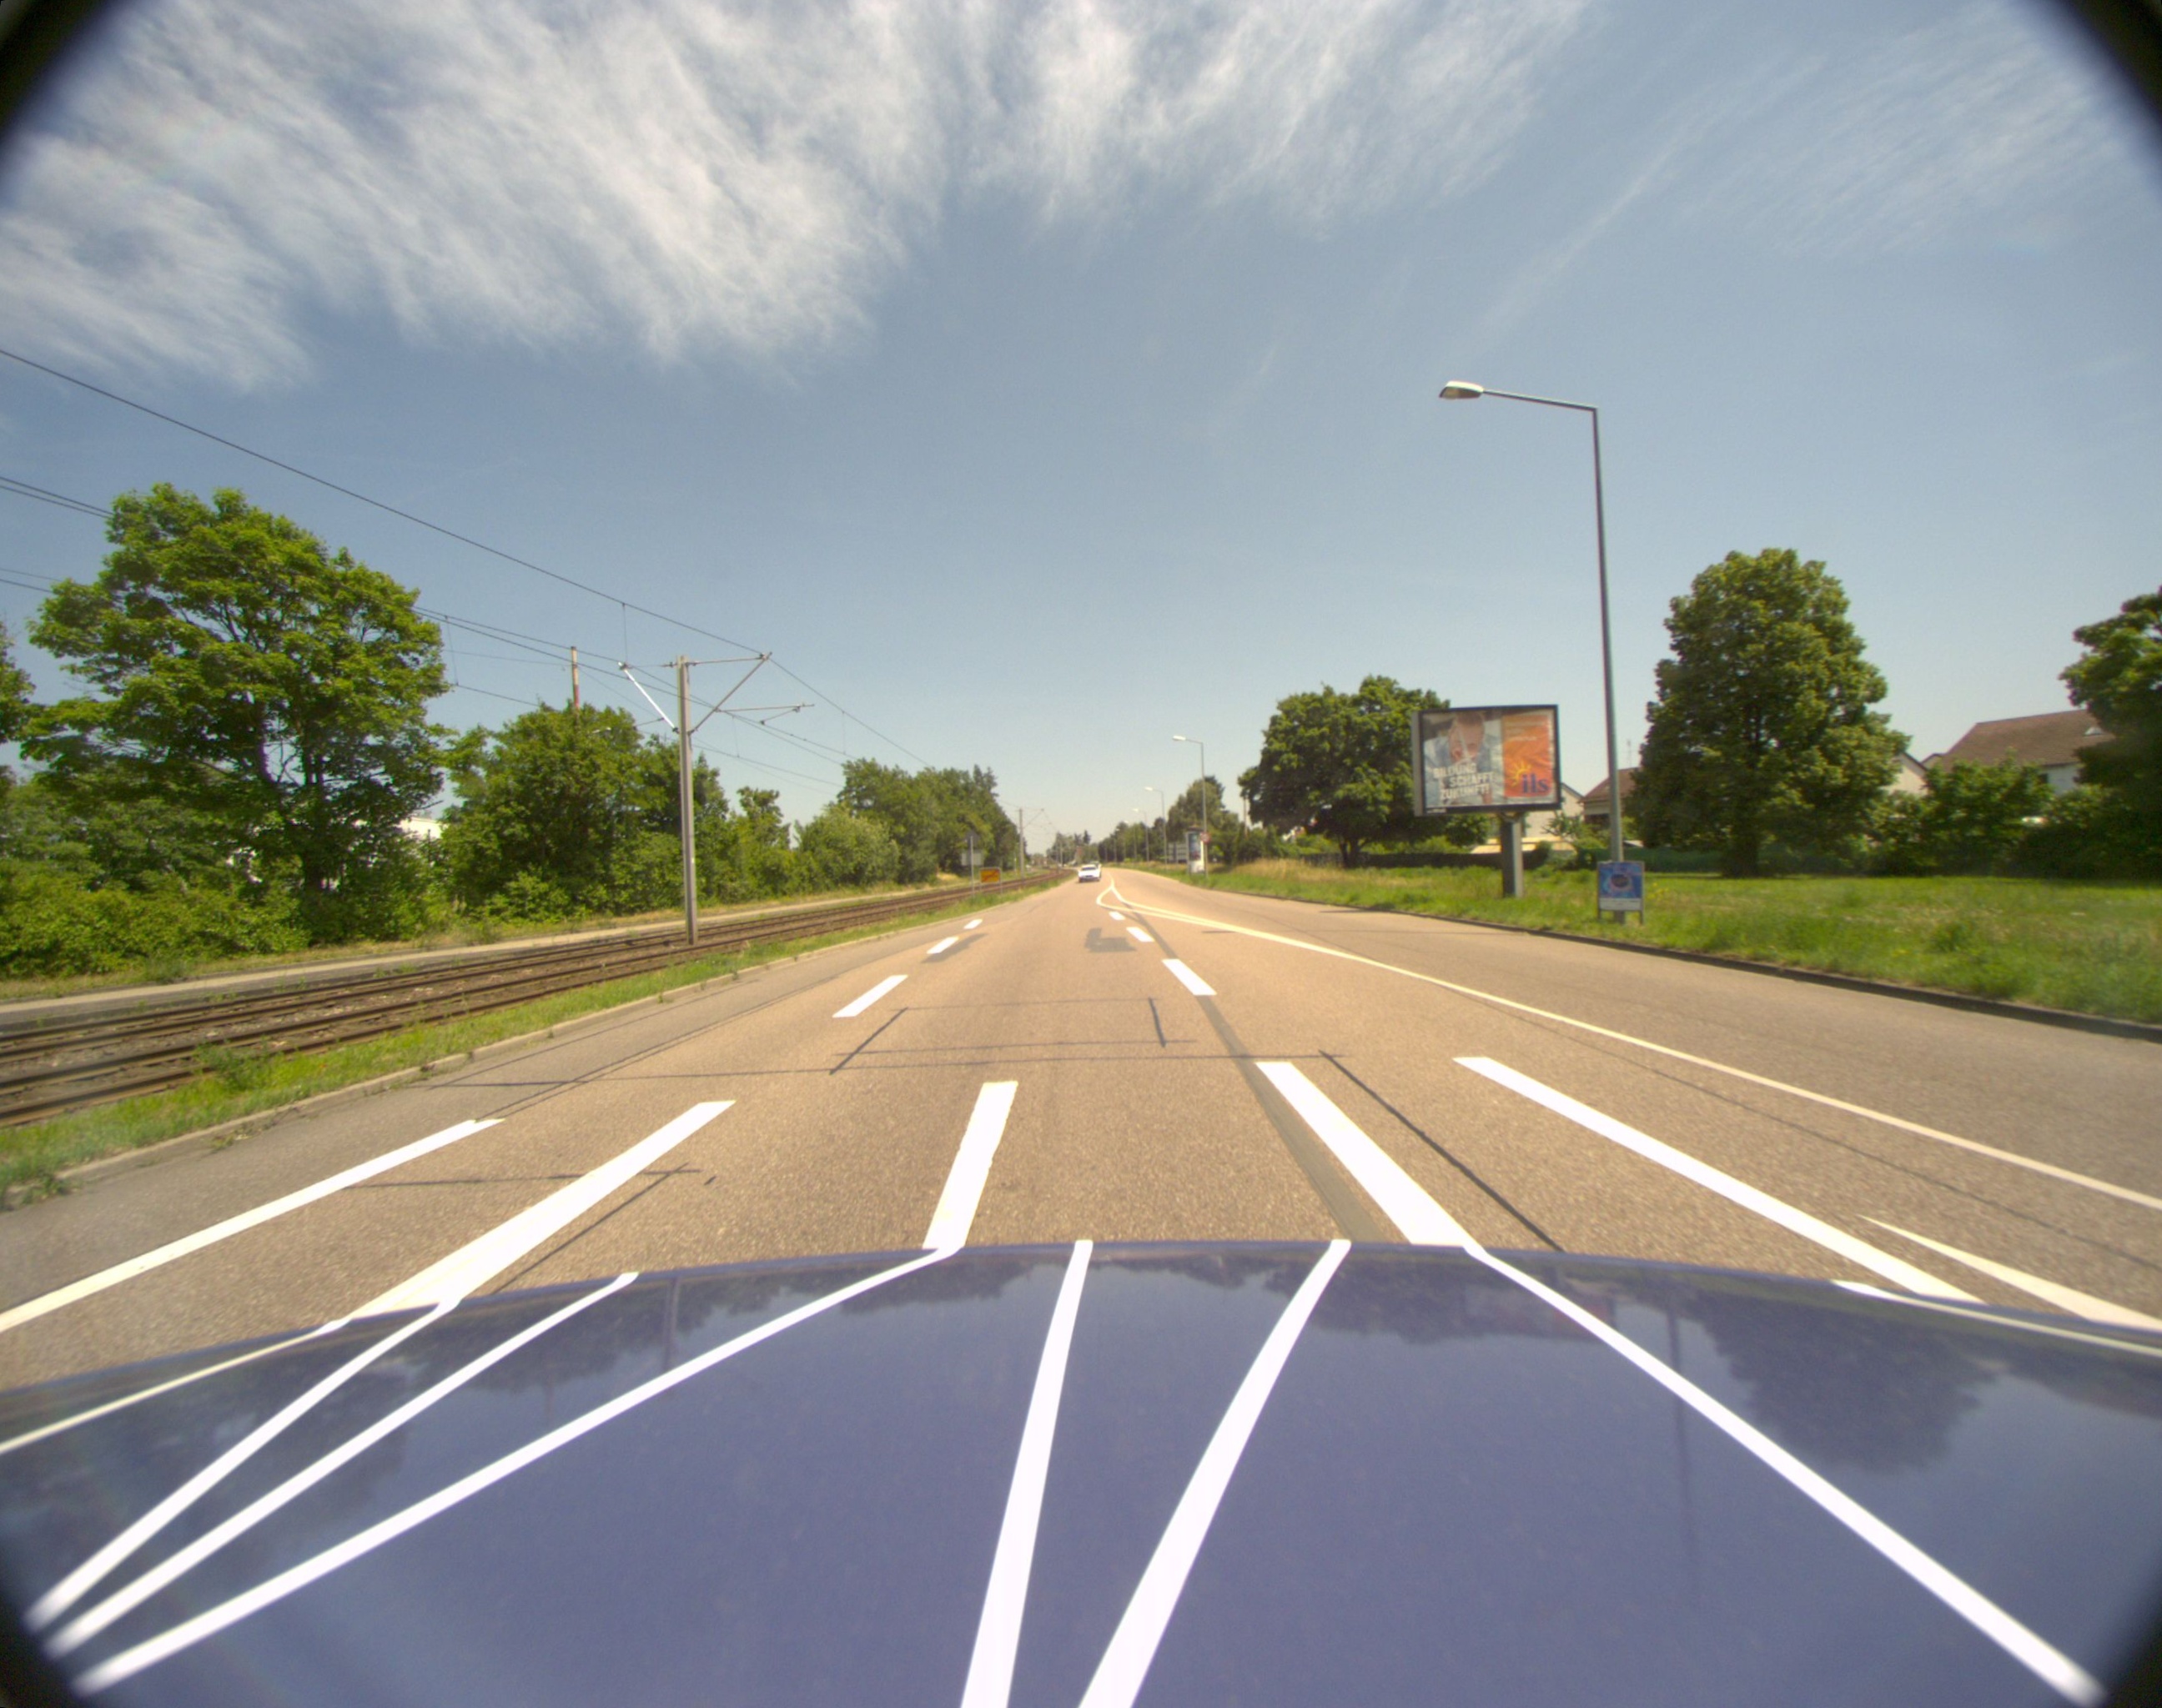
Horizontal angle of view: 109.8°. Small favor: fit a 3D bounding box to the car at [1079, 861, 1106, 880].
[{"bbox_3d":[1.016,1.421,65.507,1.954,1.467,4.363,-3,-1,5],"label":"car"}]
